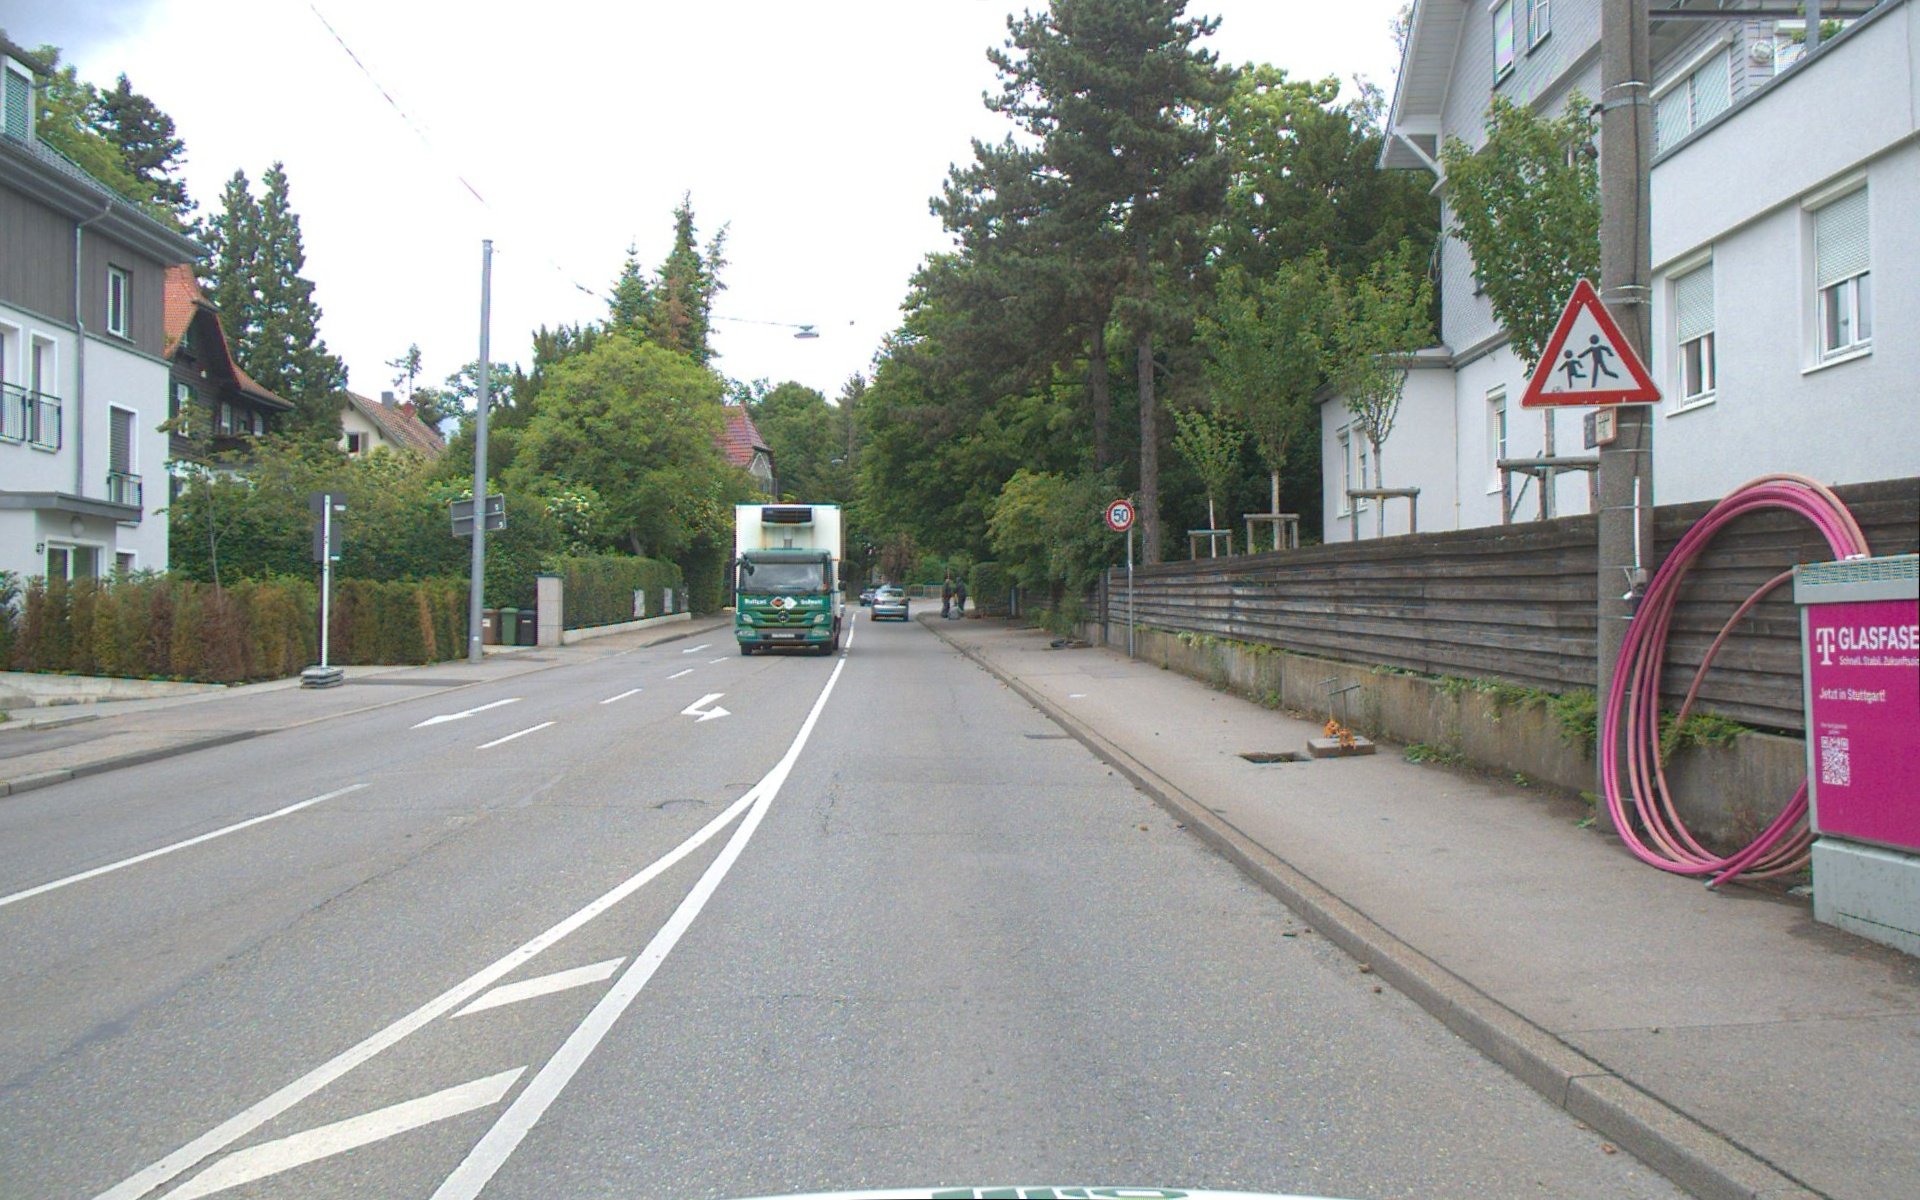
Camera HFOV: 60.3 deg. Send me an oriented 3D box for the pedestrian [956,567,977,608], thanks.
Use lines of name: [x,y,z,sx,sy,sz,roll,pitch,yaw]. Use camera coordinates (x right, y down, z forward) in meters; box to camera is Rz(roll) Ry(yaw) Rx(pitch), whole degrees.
pedestrian: [0.291,-0.553,74.867,0.686,1.838,0.662,-1,0,-44]

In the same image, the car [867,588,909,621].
car: [-3.261,0.229,74.329,1.761,1.440,4.332,0,-1,-4]

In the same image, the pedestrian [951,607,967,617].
pedestrian: [-0.062,0.516,72.245,0.659,0.400,0.740,0,0,-4]

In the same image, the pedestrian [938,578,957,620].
pedestrian: [-0.571,-0.051,74.486,0.791,1.838,0.740,0,0,-4]

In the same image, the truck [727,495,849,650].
truck: [-4.169,-0.580,41.496,2.722,3.522,7.487,0,-1,-4]

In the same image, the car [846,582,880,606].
car: [-6.216,-0.411,106.497,1.645,1.497,4.020,0,1,5]
